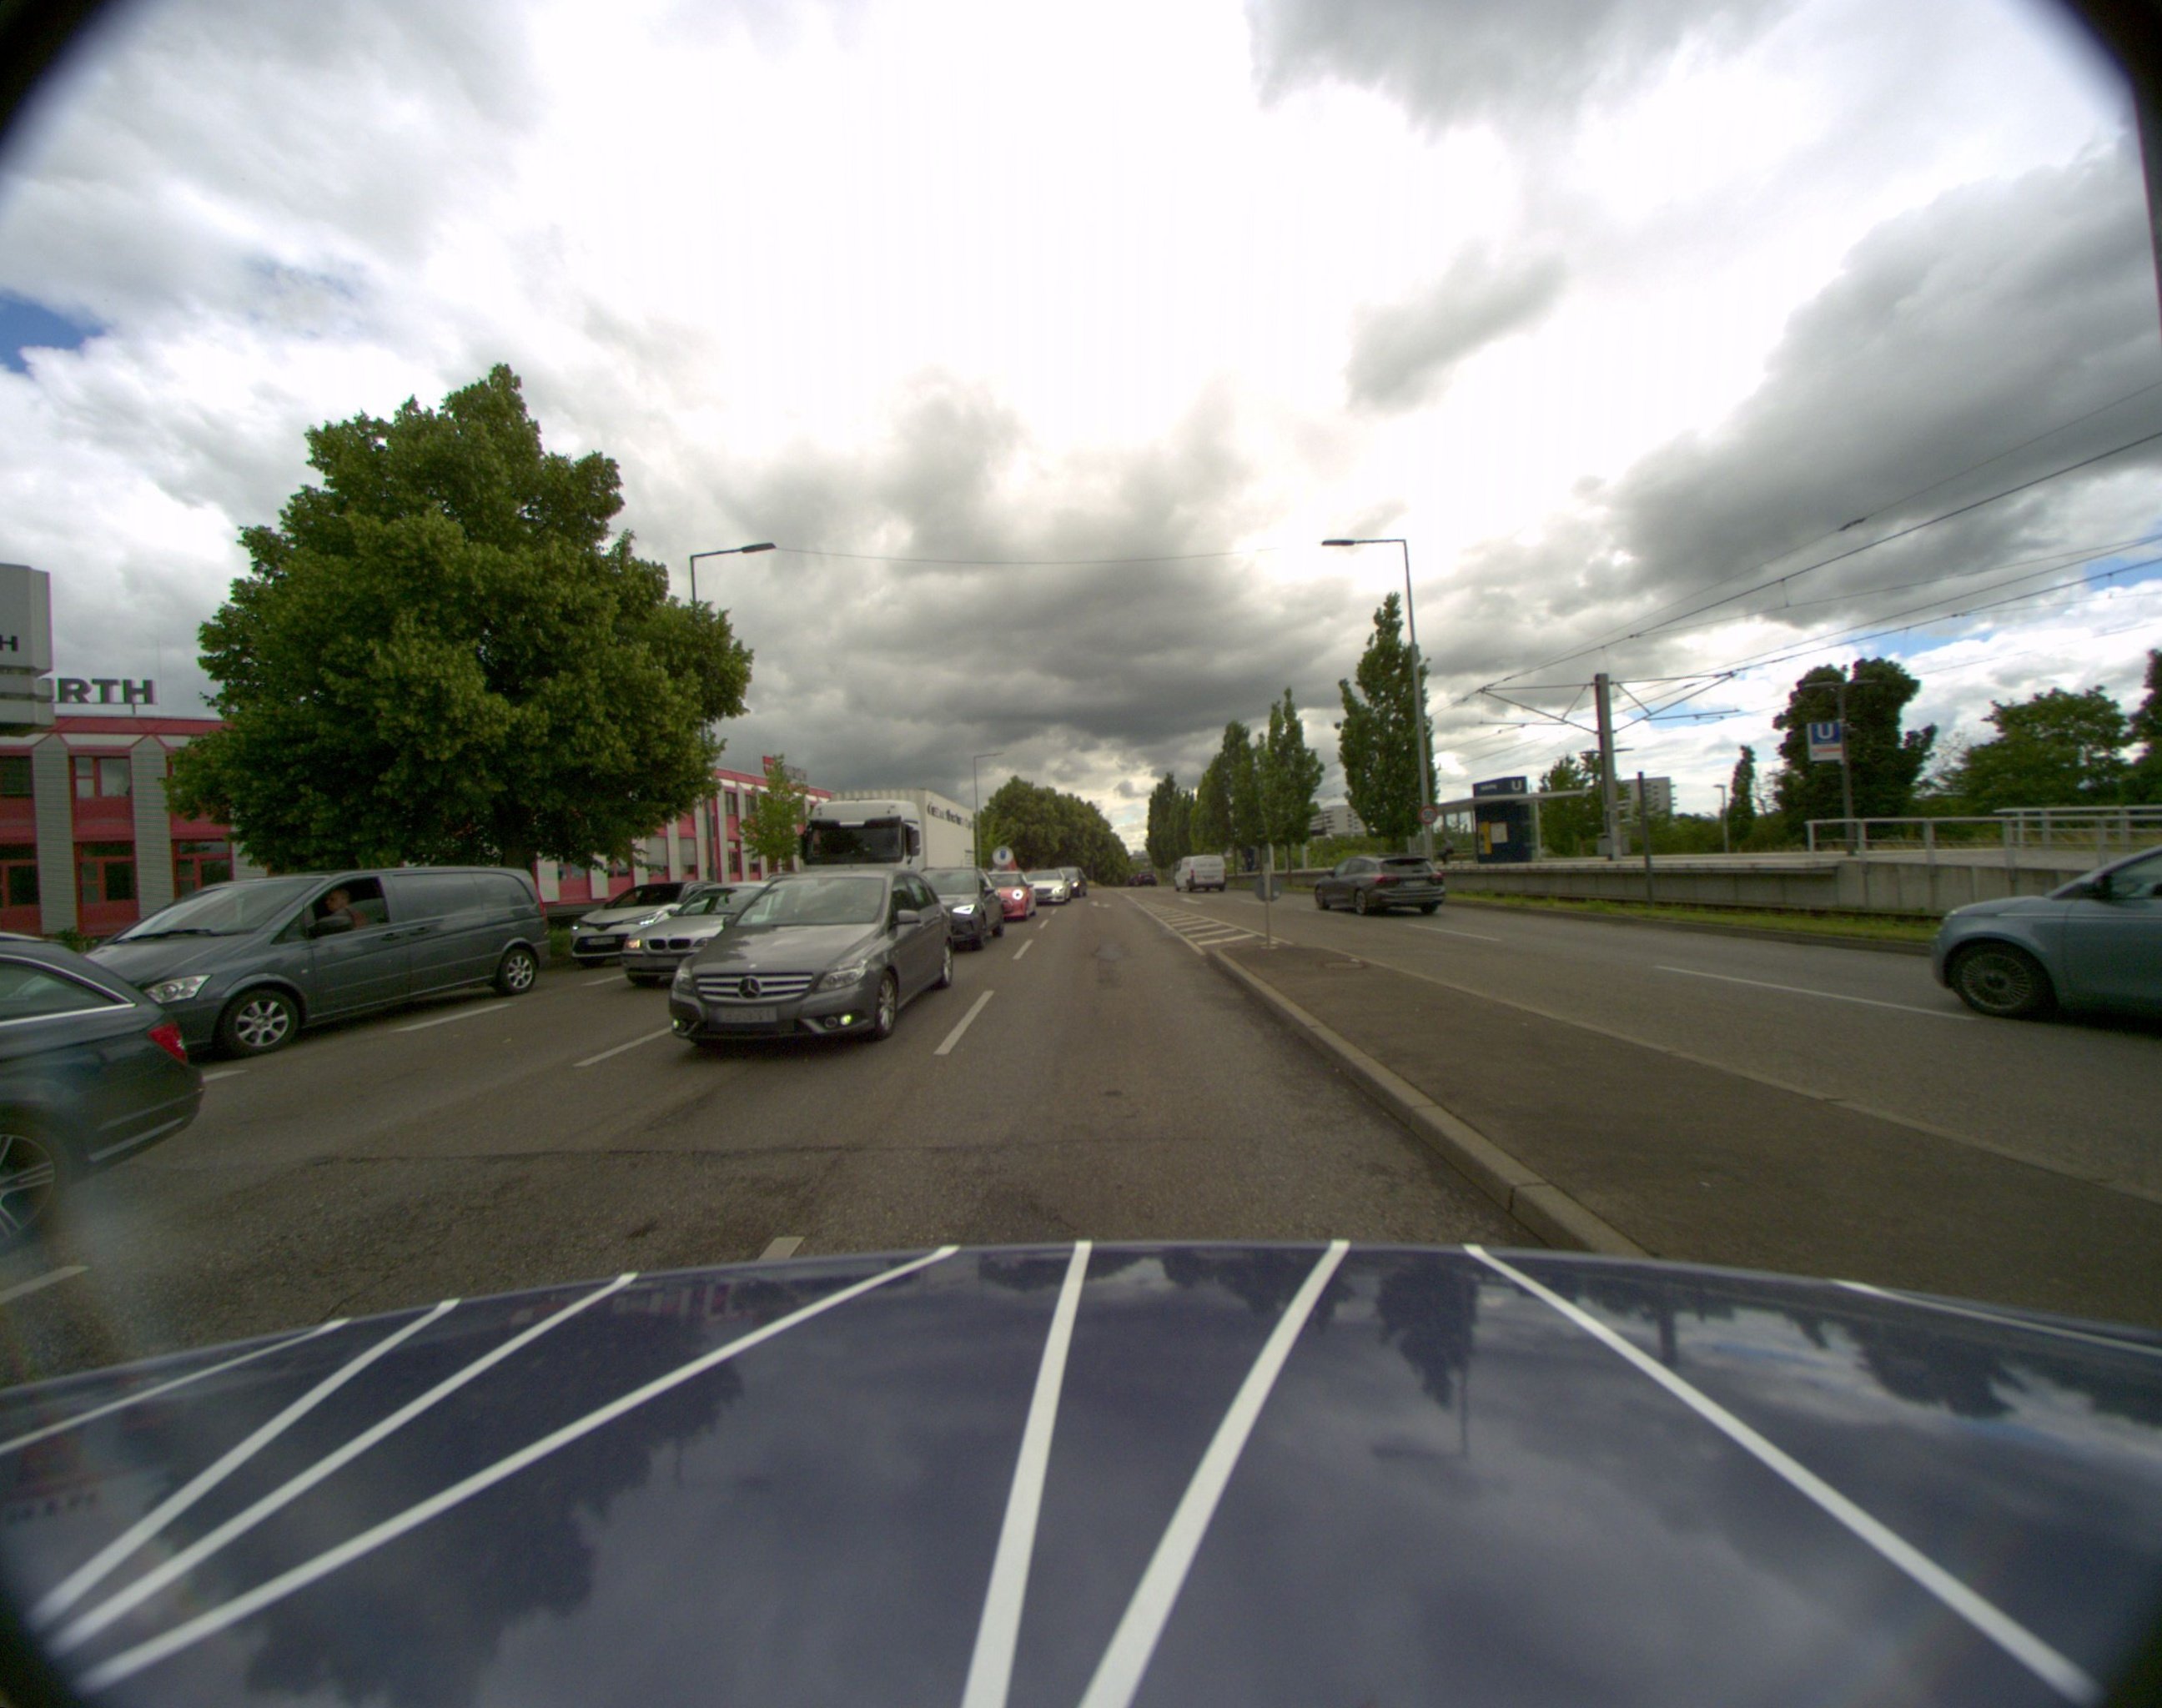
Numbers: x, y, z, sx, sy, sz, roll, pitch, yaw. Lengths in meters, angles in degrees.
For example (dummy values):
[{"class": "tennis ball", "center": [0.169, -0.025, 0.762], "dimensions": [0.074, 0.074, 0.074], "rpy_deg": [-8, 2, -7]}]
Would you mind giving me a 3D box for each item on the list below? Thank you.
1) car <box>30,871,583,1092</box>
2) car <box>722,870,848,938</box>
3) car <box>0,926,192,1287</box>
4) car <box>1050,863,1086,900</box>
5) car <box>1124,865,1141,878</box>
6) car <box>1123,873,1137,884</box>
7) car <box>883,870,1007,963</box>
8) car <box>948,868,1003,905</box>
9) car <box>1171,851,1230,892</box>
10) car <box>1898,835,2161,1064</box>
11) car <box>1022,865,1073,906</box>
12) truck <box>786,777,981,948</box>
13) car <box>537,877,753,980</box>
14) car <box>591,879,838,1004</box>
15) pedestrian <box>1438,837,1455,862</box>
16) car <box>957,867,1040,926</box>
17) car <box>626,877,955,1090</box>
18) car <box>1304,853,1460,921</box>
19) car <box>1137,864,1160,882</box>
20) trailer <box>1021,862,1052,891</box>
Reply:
[{"class": "car", "center": [-8.704, 1.241, 9.365], "dimensions": [1.763, 1.764, 4.675], "rpy_deg": [-6, 0, 2]}, {"class": "car", "center": [-8.451, 1.375, 22.157], "dimensions": [1.865, 1.648, 4.209], "rpy_deg": [-4, -1, 1]}, {"class": "car", "center": [-5.522, 1.127, 1.752], "dimensions": [1.750, 1.476, 4.356], "rpy_deg": [-2, 0, 1]}, {"class": "car", "center": [-0.595, 1.332, 38.332], "dimensions": [1.669, 1.589, 3.996], "rpy_deg": [-2, 1, 0]}, {"class": "car", "center": [6.090, 2.098, 89.634], "dimensions": [1.700, 1.440, 3.934], "rpy_deg": [-2, -1, 0]}, {"class": "car", "center": [7.093, 3.582, 111.187], "dimensions": [1.813, 1.440, 3.934], "rpy_deg": [-2, 0, 1]}, {"class": "car", "center": [-2.494, 1.103, 14.786], "dimensions": [1.628, 1.484, 3.838], "rpy_deg": [-2, -1, 1]}, {"class": "car", "center": [-4.825, 1.452, 35.314], "dimensions": [1.851, 1.521, 4.377], "rpy_deg": [-2, -1, 0]}, {"class": "car", "center": [6.326, 0.851, 40.783], "dimensions": [1.920, 1.953, 5.370], "rpy_deg": [-2, 1, -4]}, {"class": "car", "center": [8.257, 0.645, 5.015], "dimensions": [1.761, 1.519, 3.599], "rpy_deg": [-2, 1, -3]}, {"class": "car", "center": [-1.316, 1.258, 31.496], "dimensions": [1.804, 1.403, 4.316], "rpy_deg": [-2, 1, 0]}, {"class": "truck", "center": [-5.274, 0.220, 22.845], "dimensions": [2.809, 3.880, 10.182], "rpy_deg": [-2, 0, 2]}, {"class": "car", "center": [-8.599, 1.385, 15.484], "dimensions": [1.844, 1.507, 4.106], "rpy_deg": [-6, 0, 1]}, {"class": "car", "center": [-5.471, 1.215, 12.080], "dimensions": [1.750, 1.375, 4.290], "rpy_deg": [-2, 1, 1]}, {"class": "pedestrian", "center": [17.721, -0.220, 36.822], "dimensions": [0.601, 1.148, 0.447], "rpy_deg": [-2, 1, 1]}, {"class": "car", "center": [-2.296, 1.170, 21.999], "dimensions": [1.825, 1.497, 3.495], "rpy_deg": [-2, -1, 2]}, {"class": "car", "center": [-2.568, 1.057, 7.857], "dimensions": [1.750, 1.499, 4.048], "rpy_deg": [-2, -1, 1]}, {"class": "car", "center": [7.390, 0.733, 19.192], "dimensions": [1.876, 1.416, 4.430], "rpy_deg": [-2, 1, -4]}, {"class": "car", "center": [5.961, 1.656, 67.600], "dimensions": [1.700, 1.440, 3.660], "rpy_deg": [-2, 0, 0]}, {"class": "trailer", "center": [-3.023, 1.512, 52.211], "dimensions": [1.775, 1.650, 3.995], "rpy_deg": [-2, 3, 1]}]
